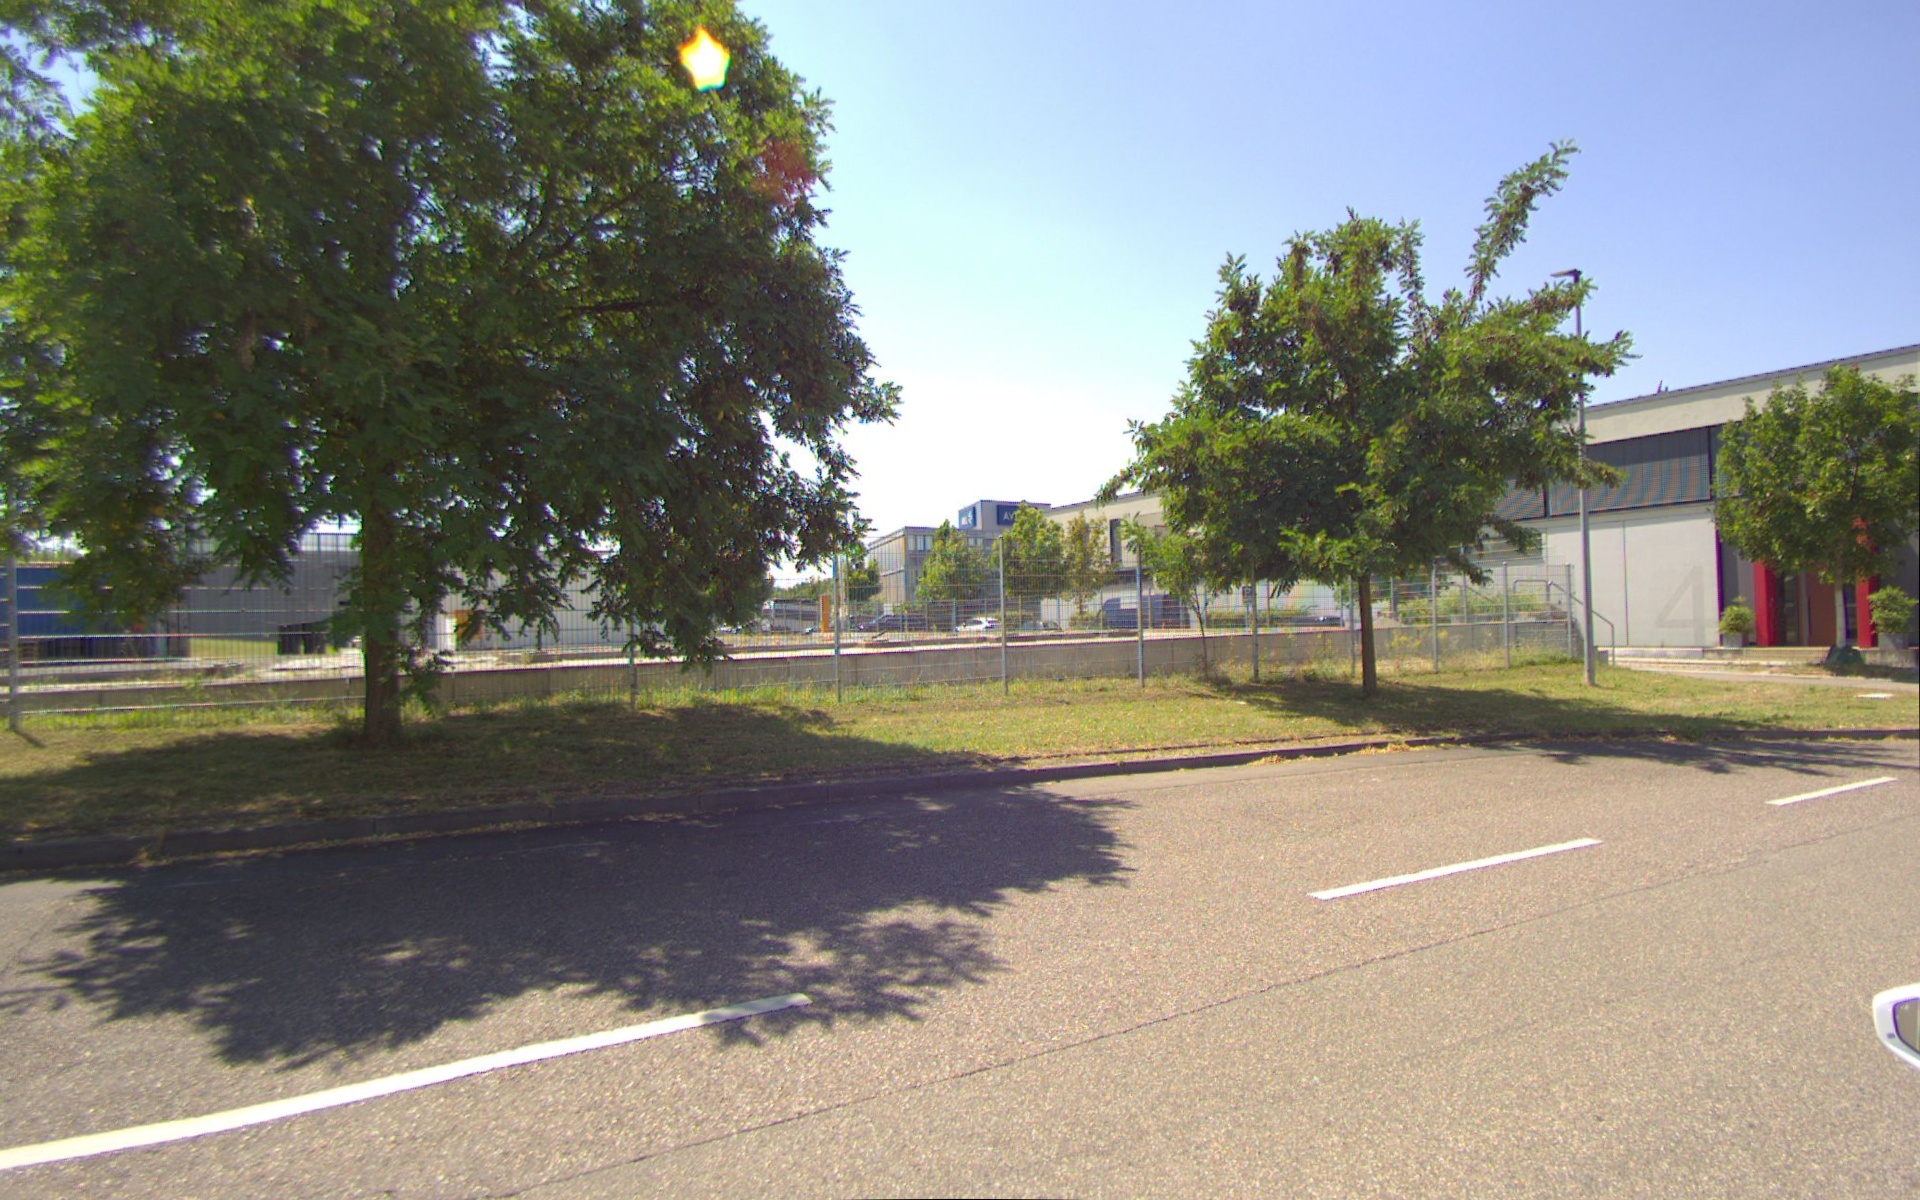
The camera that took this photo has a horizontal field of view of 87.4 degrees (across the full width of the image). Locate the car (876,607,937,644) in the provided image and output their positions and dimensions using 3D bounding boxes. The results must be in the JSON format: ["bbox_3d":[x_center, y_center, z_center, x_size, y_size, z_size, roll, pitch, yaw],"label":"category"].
[{"bbox_3d":[-3.083,1.430,56.991,1.951,2.040,3.970,1,-1,-29],"label":"car"}]

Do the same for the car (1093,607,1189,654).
[{"bbox_3d":[9.562,1.570,53.495,2.107,2.303,5.217,-3,1,-30],"label":"car"}]

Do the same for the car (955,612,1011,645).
[{"bbox_3d":[1.526,1.902,67.395,1.947,2.040,3.970,-3,1,-29],"label":"car"}]

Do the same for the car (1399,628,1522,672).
[{"bbox_3d":[19.097,1.863,38.475,1.637,1.427,3.981,-3,1,-30],"label":"car"}]

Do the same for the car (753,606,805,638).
[{"bbox_3d":[-12.010,1.461,66.502,2.256,2.040,3.970,0,-1,-28],"label":"car"}]
